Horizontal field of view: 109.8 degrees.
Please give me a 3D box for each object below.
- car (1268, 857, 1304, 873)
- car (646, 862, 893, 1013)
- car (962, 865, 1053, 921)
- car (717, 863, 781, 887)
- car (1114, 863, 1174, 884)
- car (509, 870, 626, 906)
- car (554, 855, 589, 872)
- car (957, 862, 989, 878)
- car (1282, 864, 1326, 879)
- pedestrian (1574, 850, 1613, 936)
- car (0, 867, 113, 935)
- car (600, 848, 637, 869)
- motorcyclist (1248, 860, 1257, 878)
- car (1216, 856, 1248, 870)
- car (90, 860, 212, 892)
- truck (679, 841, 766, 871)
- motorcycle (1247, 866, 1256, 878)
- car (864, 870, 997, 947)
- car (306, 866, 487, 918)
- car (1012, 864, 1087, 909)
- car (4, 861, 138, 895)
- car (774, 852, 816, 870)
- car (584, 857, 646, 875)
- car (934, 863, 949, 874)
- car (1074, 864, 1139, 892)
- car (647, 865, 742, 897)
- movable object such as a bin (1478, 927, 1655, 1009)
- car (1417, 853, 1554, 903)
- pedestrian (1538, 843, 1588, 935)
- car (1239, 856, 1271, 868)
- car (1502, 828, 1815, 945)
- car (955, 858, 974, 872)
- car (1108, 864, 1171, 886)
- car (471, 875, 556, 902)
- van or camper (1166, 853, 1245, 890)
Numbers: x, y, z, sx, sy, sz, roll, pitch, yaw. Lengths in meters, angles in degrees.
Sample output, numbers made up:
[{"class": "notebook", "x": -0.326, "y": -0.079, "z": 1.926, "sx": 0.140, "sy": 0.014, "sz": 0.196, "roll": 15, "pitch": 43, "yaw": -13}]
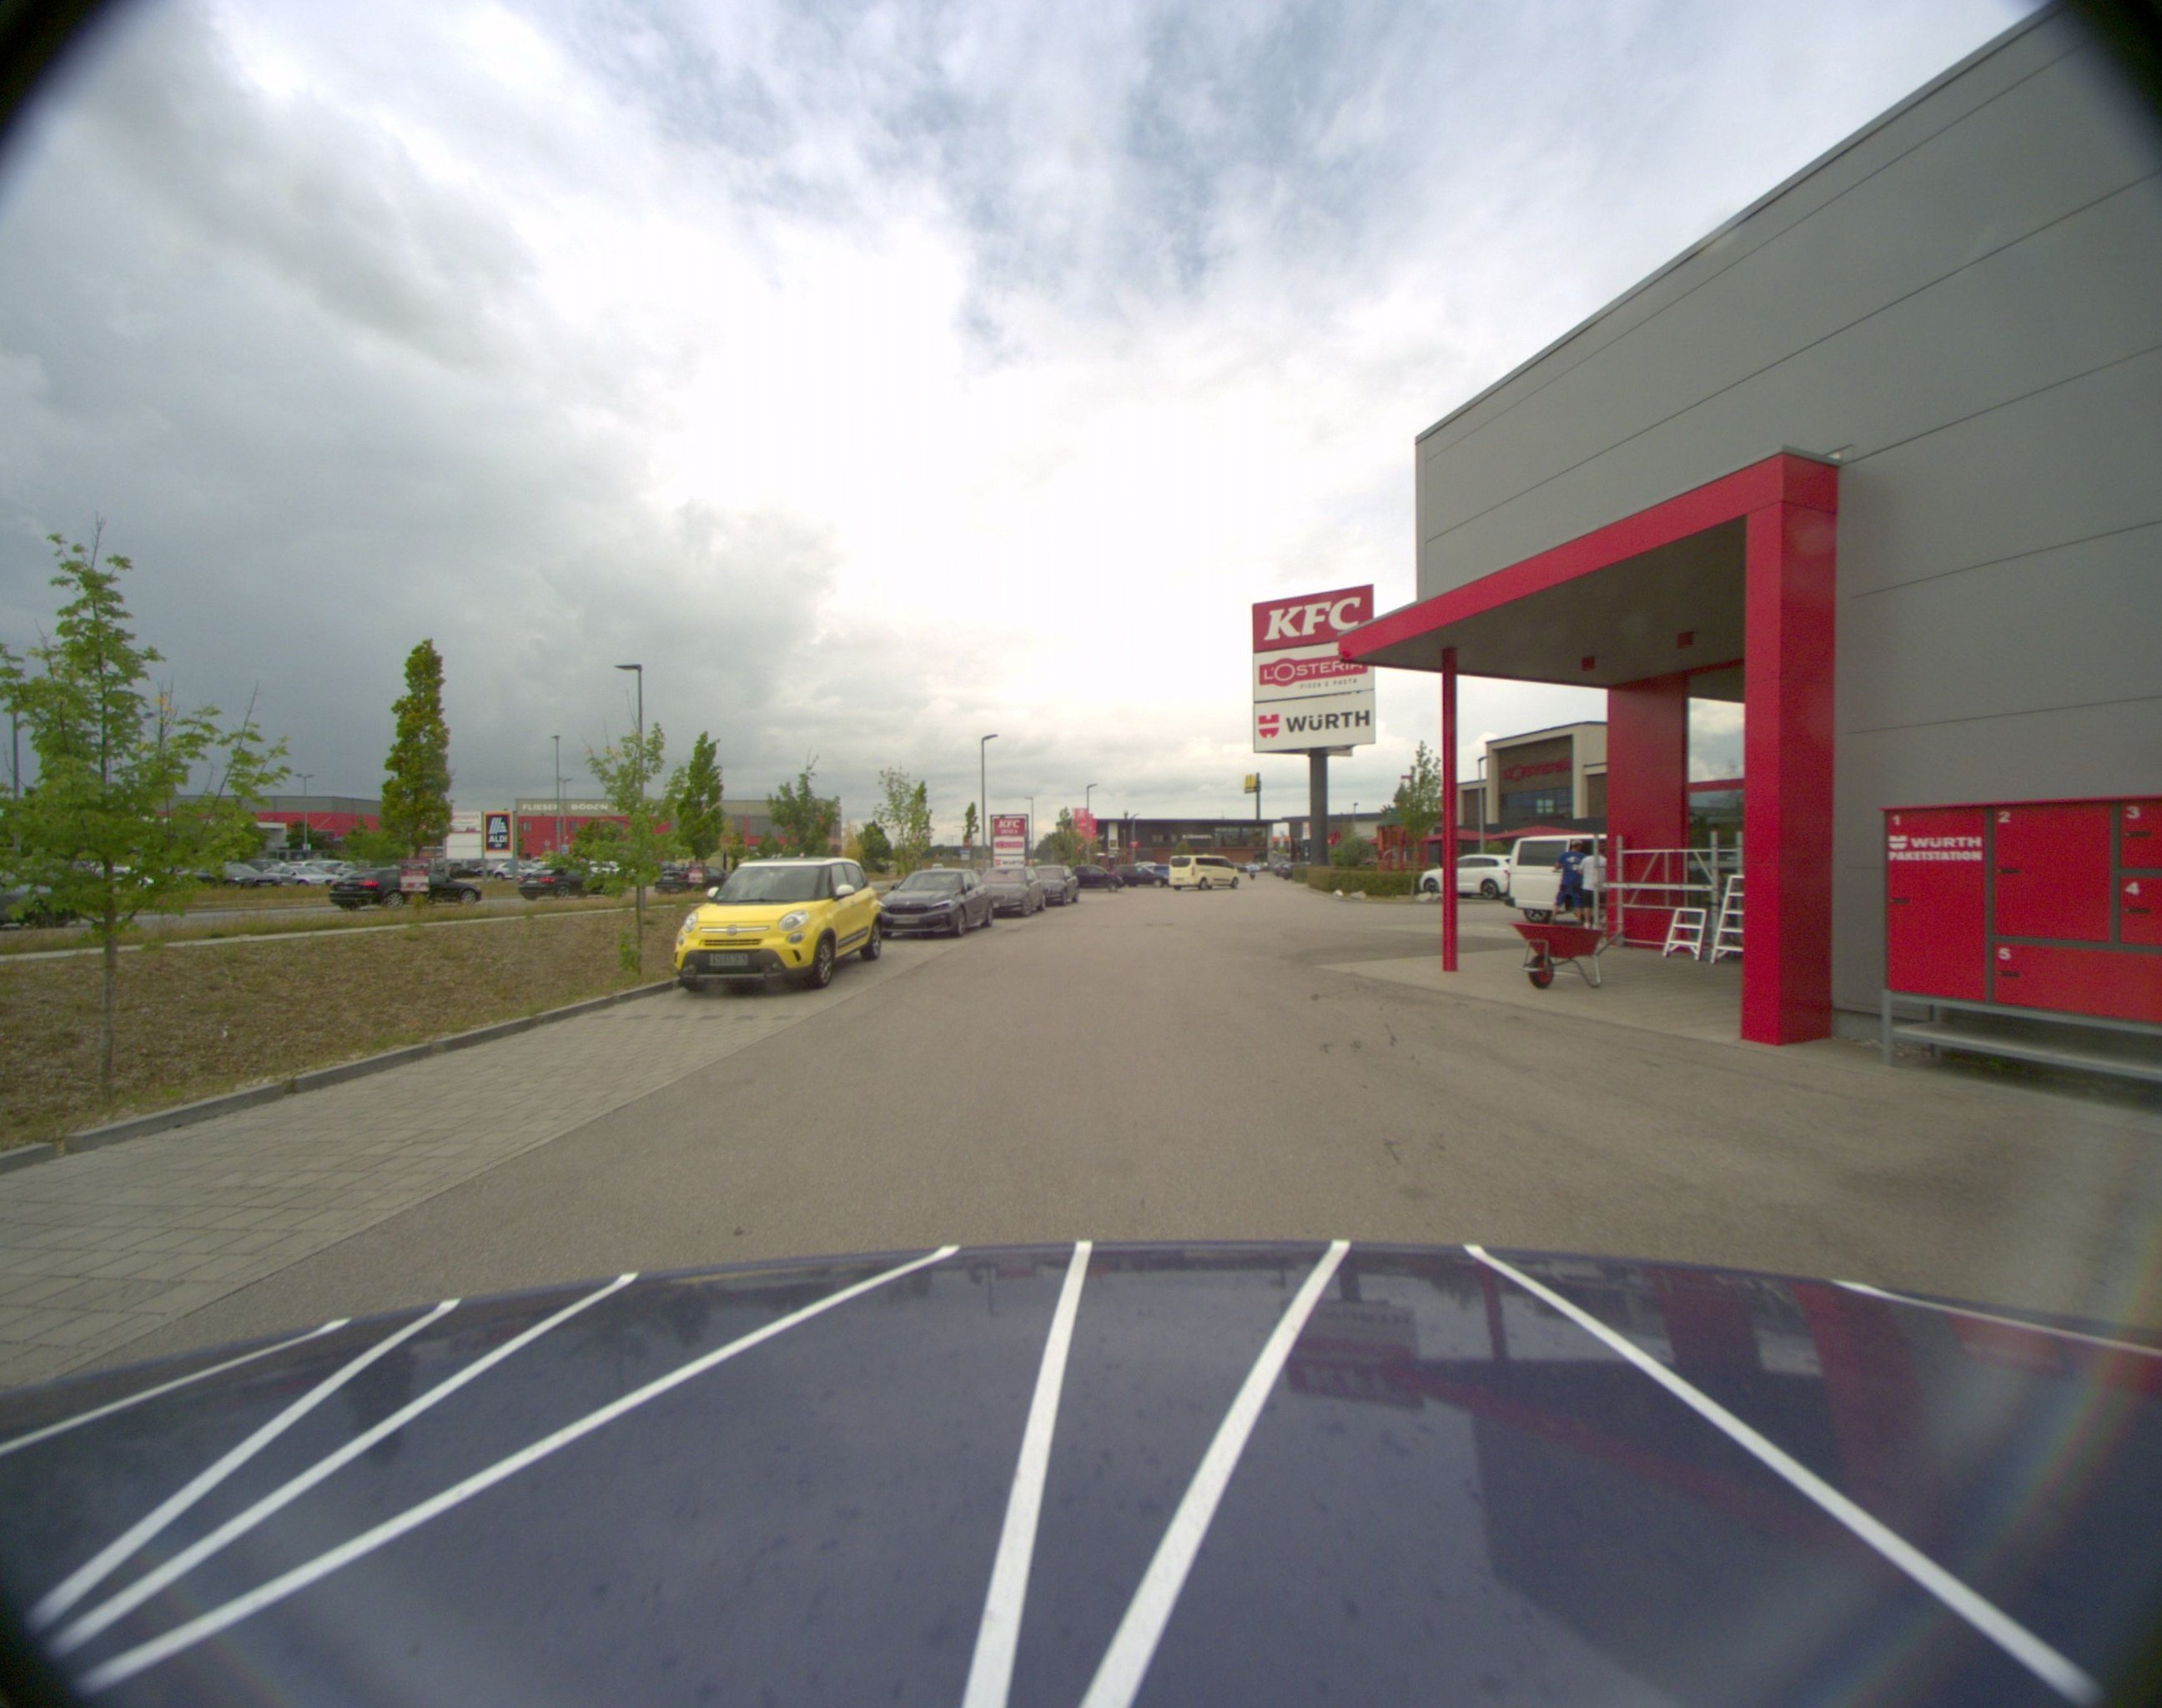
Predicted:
[{"class": "car", "x": 25.748, "y": 1.363, "z": 95.512, "sx": 3.998, "sy": 1.827, "sz": 1.999, "roll": -1, "pitch": 0, "yaw": -4}, {"class": "car", "x": -4.077, "y": 0.971, "z": 10.806, "sx": 1.752, "sy": 1.673, "sz": 4.298, "roll": -1, "pitch": 0, "yaw": 0}, {"class": "car", "x": -2.128, "y": 1.123, "z": 23.394, "sx": 1.750, "sy": 1.482, "sz": 4.636, "roll": -1, "pitch": 0, "yaw": 8}, {"class": "car", "x": -22.147, "y": 1.391, "z": 50.907, "sx": 1.788, "sy": 1.387, "sz": 4.374, "roll": -1, "pitch": 0, "yaw": 10}, {"class": "car", "x": 4.414, "y": 1.390, "z": 53.193, "sx": 3.994, "sy": 1.411, "sz": 1.812, "roll": -1, "pitch": 0, "yaw": 10}, {"class": "car", "x": -21.945, "y": 1.431, "z": 32.698, "sx": 1.906, "sy": 1.389, "sz": 4.004, "roll": 0, "pitch": 0, "yaw": 10}, {"class": "car", "x": -54.212, "y": 0.999, "z": 80.976, "sx": 1.764, "sy": 1.644, "sz": 3.832, "roll": 0, "pitch": 1, "yaw": -12}, {"class": "car", "x": -10.833, "y": 1.575, "z": 76.555, "sx": 1.997, "sy": 1.506, "sz": 4.372, "roll": 0, "pitch": 0, "yaw": 8}, {"class": "car", "x": 19.798, "y": 1.540, "z": 67.536, "sx": 3.440, "sy": 1.288, "sz": 1.500, "roll": -1, "pitch": 0, "yaw": 1}, {"class": "pedestrian", "x": 10.180, "y": 0.762, "z": 15.090, "sx": 0.586, "sy": 1.692, "sz": 0.360, "roll": 0, "pitch": 0, "yaw": -18}, {"class": "car", "x": -24.795, "y": 1.043, "z": 16.229, "sx": 1.808, "sy": 1.499, "sz": 4.886, "roll": 0, "pitch": 0, "yaw": 5}, {"class": "car", "x": -49.426, "y": 0.461, "z": 81.295, "sx": 2.026, "sy": 2.192, "sz": 4.344, "roll": 0, "pitch": 1, "yaw": -12}, {"class": "motorcyclist", "x": 15.816, "y": 1.355, "z": 70.269, "sx": 0.753, "sy": 1.628, "sz": 1.039, "roll": -1, "pitch": 0, "yaw": 11}, {"class": "car", "x": 21.234, "y": 1.265, "z": 106.987, "sx": 3.989, "sy": 2.002, "sz": 2.004, "roll": -1, "pitch": 0, "yaw": 40}, {"class": "car", "x": -44.131, "y": 1.043, "z": 36.099, "sx": 3.995, "sy": 1.467, "sz": 1.779, "roll": 0, "pitch": 0, "yaw": 6}, {"class": "truck", "x": -37.472, "y": 0.199, "z": 79.808, "sx": 2.672, "sy": 2.928, "sz": 8.199, "roll": 0, "pitch": 0, "yaw": 29}, {"class": "motorcycle", "x": 15.782, "y": 1.647, "z": 70.347, "sx": 0.815, "sy": 1.069, "sz": 2.151, "roll": 0, "pitch": 0, "yaw": 11}, {"class": "car", "x": -3.190, "y": 1.113, "z": 17.037, "sx": 1.751, "sy": 1.407, "sz": 4.308, "roll": -1, "pitch": 0, "yaw": 5}, {"class": "car", "x": -22.896, "y": 1.201, "z": 25.686, "sx": 1.906, "sy": 1.559, "sz": 4.338, "roll": 0, "pitch": 0, "yaw": 7}, {"class": "car", "x": -1.095, "y": 1.172, "z": 28.764, "sx": 1.750, "sy": 1.482, "sz": 4.492, "roll": -1, "pitch": 0, "yaw": 12}, {"class": "car", "x": -44.800, "y": 1.043, "z": 33.747, "sx": 3.995, "sy": 1.467, "sz": 1.779, "roll": 0, "pitch": 0, "yaw": 6}, {"class": "car", "x": -35.009, "y": 0.801, "z": 92.990, "sx": 4.439, "sy": 2.110, "sz": 1.998, "roll": -1, "pitch": 0, "yaw": -10}, {"class": "car", "x": -38.912, "y": 0.992, "z": 63.507, "sx": 3.995, "sy": 1.433, "sz": 2.001, "roll": -1, "pitch": 0, "yaw": 4}, {"class": "car", "x": -20.243, "y": 2.087, "z": 110.074, "sx": 2.000, "sy": 1.666, "sz": 3.996, "roll": 0, "pitch": 0, "yaw": -11}, {"class": "car", "x": 1.340, "y": 1.271, "z": 40.442, "sx": 3.128, "sy": 1.438, "sz": 1.504, "roll": 1, "pitch": 0, "yaw": -18}, {"class": "car", "x": -17.646, "y": 1.206, "z": 34.899, "sx": 1.757, "sy": 1.346, "sz": 4.004, "roll": 0, "pitch": 0, "yaw": 11}, {"class": "movable object such as a bin", "x": 5.250, "y": 1.204, "z": 8.246, "sx": 1.586, "sy": 0.711, "sz": 0.802, "roll": 0, "pitch": 0, "yaw": -19}, {"class": "car", "x": 15.288, "y": 0.855, "z": 29.046, "sx": 1.760, "sy": 1.738, "sz": 4.735, "roll": 0, "pitch": 0, "yaw": -17}, {"class": "pedestrian", "x": 9.937, "y": 0.701, "z": 15.663, "sx": 0.589, "sy": 1.845, "sz": 0.624, "roll": -1, "pitch": 0, "yaw": -21}, {"class": "car", "x": 25.067, "y": 1.210, "z": 109.381, "sx": 3.989, "sy": 1.652, "sz": 2.004, "roll": -1, "pitch": 0, "yaw": 40}, {"class": "car", "x": 11.422, "y": 0.570, "z": 15.526, "sx": 1.939, "sy": 2.002, "sz": 4.750, "roll": -1, "pitch": 0, "yaw": -22}, {"class": "car", "x": -15.911, "y": 1.493, "z": 103.933, "sx": 1.906, "sy": 1.803, "sz": 4.000, "roll": 0, "pitch": 0, "yaw": 0}, {"class": "car", "x": 3.900, "y": 1.387, "z": 50.474, "sx": 3.994, "sy": 1.411, "sz": 1.812, "roll": -1, "pitch": 0, "yaw": 10}, {"class": "car", "x": -34.700, "y": 2.082, "z": 46.492, "sx": 3.993, "sy": 1.521, "sz": 2.002, "roll": -1, "pitch": 0, "yaw": 13}, {"class": "van or camper", "x": 7.427, "y": 0.992, "z": 44.944, "sx": 5.245, "sy": 2.049, "sz": 1.854, "roll": 0, "pitch": 0, "yaw": -44}]
